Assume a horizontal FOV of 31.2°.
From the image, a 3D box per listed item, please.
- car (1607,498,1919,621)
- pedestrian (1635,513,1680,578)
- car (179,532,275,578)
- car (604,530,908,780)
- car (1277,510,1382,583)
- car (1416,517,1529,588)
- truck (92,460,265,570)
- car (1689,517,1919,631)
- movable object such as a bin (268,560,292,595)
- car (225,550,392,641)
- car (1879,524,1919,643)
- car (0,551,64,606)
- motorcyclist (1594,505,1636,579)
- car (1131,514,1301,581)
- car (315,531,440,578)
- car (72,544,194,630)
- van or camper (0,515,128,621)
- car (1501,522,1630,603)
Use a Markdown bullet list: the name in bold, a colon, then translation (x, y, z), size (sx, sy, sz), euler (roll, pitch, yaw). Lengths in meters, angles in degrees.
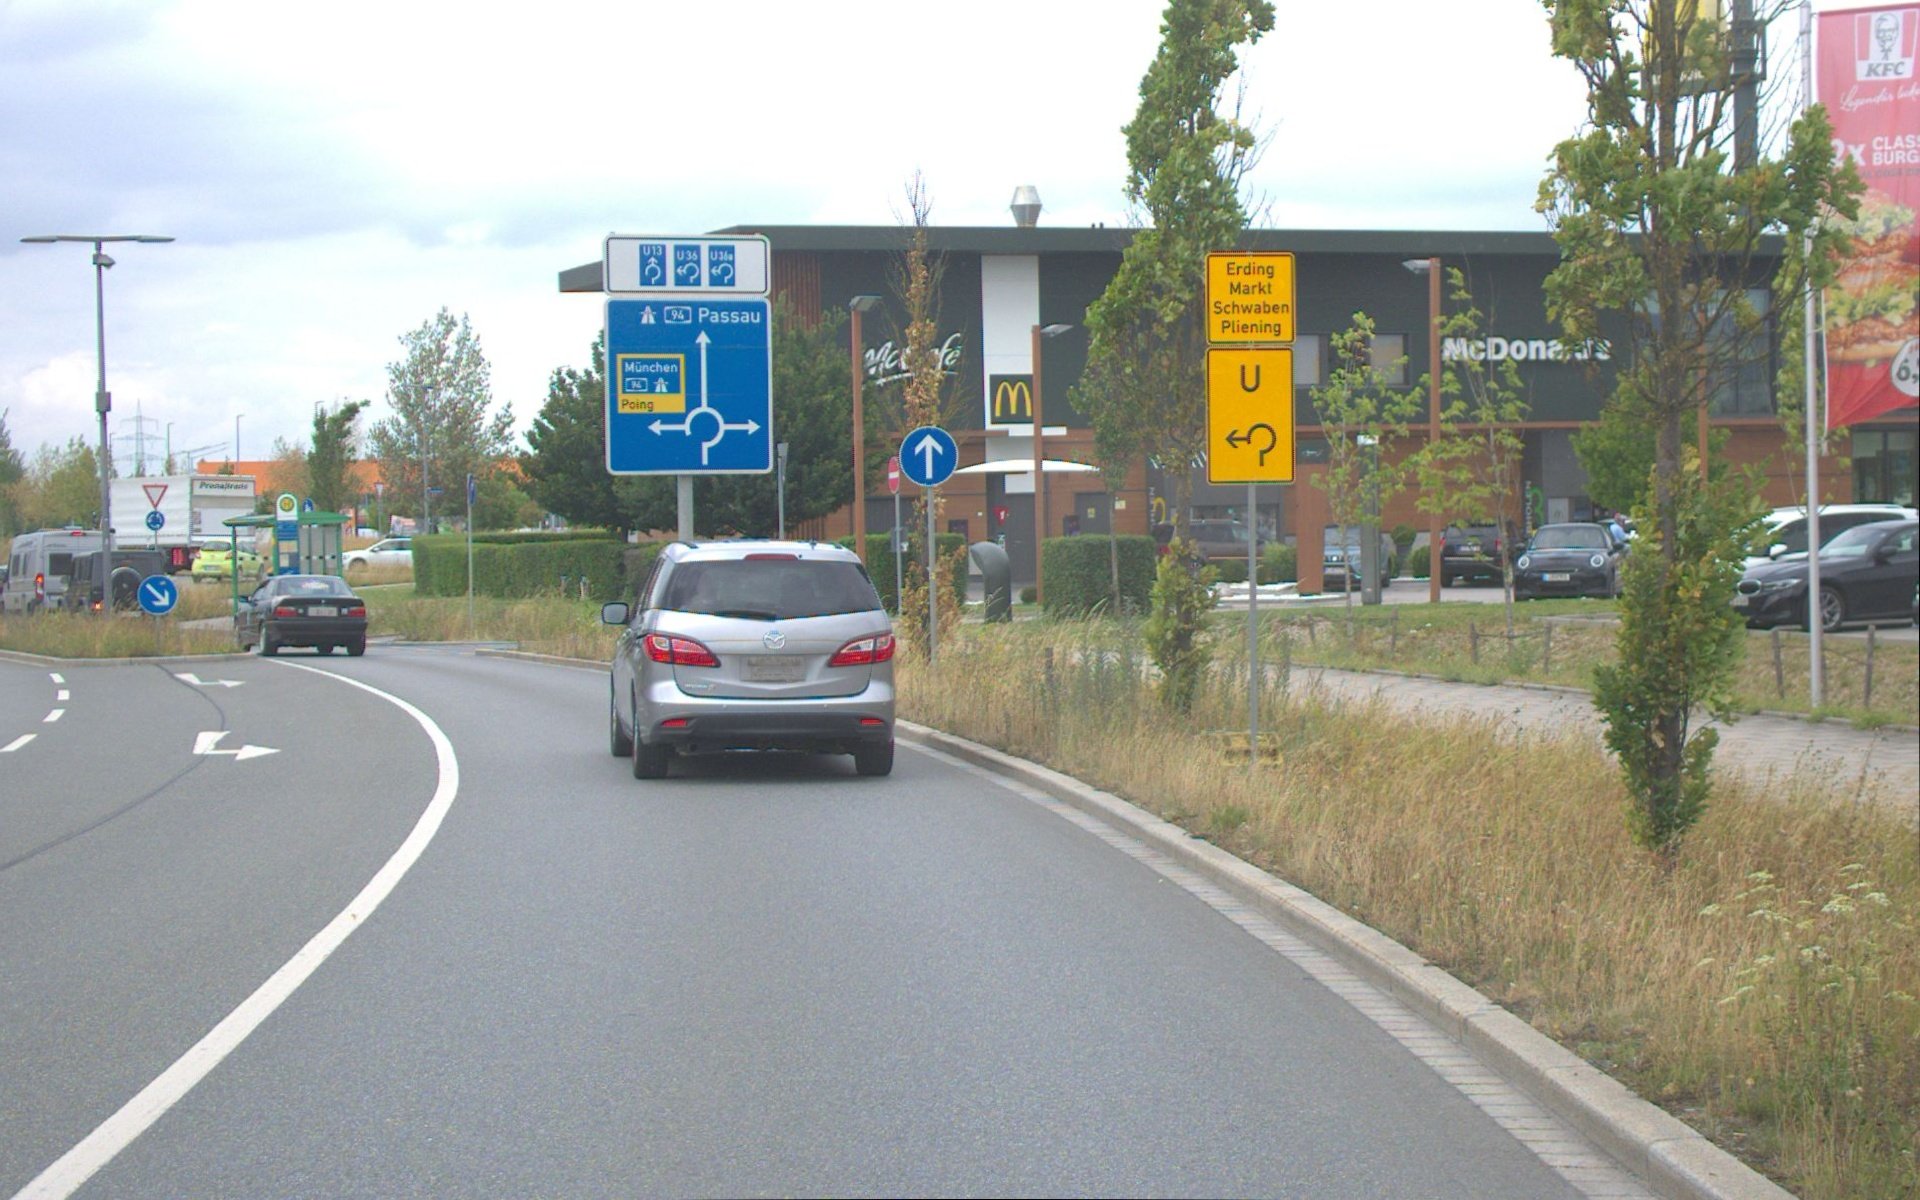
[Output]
- **car**: translation (11.738, -0.612, 49.561), size (4.346, 1.634, 1.938), euler (-2, 2, -21)
- **pedestrian**: translation (15.576, -1.211, 76.790), size (0.770, 1.434, 0.622), euler (0, 1, 37)
- **car**: translation (-25.008, -1.544, 117.449), size (1.994, 1.510, 3.999), euler (-1, 1, 7)
- **car**: translation (-1.497, 0.318, 23.978), size (1.729, 1.594, 3.808), euler (0, 1, -9)
- **car**: translation (9.030, -1.307, 83.678), size (1.995, 1.711, 3.998), euler (0, 1, 14)
- **car**: translation (12.780, -1.198, 85.518), size (2.117, 1.711, 4.227), euler (0, 1, 18)
- **truck**: translation (-29.351, -3.147, 128.783), size (3.133, 3.893, 9.335), euler (-2, 1, -33)
- **car**: translation (12.517, -0.391, 47.163), size (4.466, 1.431, 2.074), euler (-2, 2, -19)
- **movable object such as a bin**: translation (-15.605, -0.519, 78.868), size (0.456, 0.795, 0.380), euler (-1, 1, -24)
- **car**: translation (-10.892, -0.109, 57.285), size (1.844, 1.413, 4.226), euler (-2, 2, -23)
- **car**: translation (13.659, -0.265, 42.339), size (4.083, 1.433, 1.943), euler (-2, 2, -17)
- **car**: translation (-26.987, -0.636, 98.985), size (1.993, 1.510, 4.001), euler (-1, 1, -11)
- **motorcyclist**: translation (16.328, -1.457, 85.725), size (0.962, 1.826, 0.845), euler (0, 1, 15)
- **car**: translation (6.753, -1.382, 90.847), size (3.986, 1.711, 2.001), euler (-1, 1, -23)
- **car**: translation (-22.494, -1.759, 132.712), size (4.601, 1.751, 2.001), euler (-1, 1, -13)
- **car**: translation (-18.583, -0.305, 77.076), size (2.058, 1.819, 4.787), euler (-1, 1, -21)
- **van or camper**: translation (-22.100, -0.806, 84.470), size (2.302, 2.497, 5.207), euler (-1, 1, -24)
- **car**: translation (10.735, -0.681, 60.795), size (1.812, 1.308, 3.847), euler (-1, 2, 16)
